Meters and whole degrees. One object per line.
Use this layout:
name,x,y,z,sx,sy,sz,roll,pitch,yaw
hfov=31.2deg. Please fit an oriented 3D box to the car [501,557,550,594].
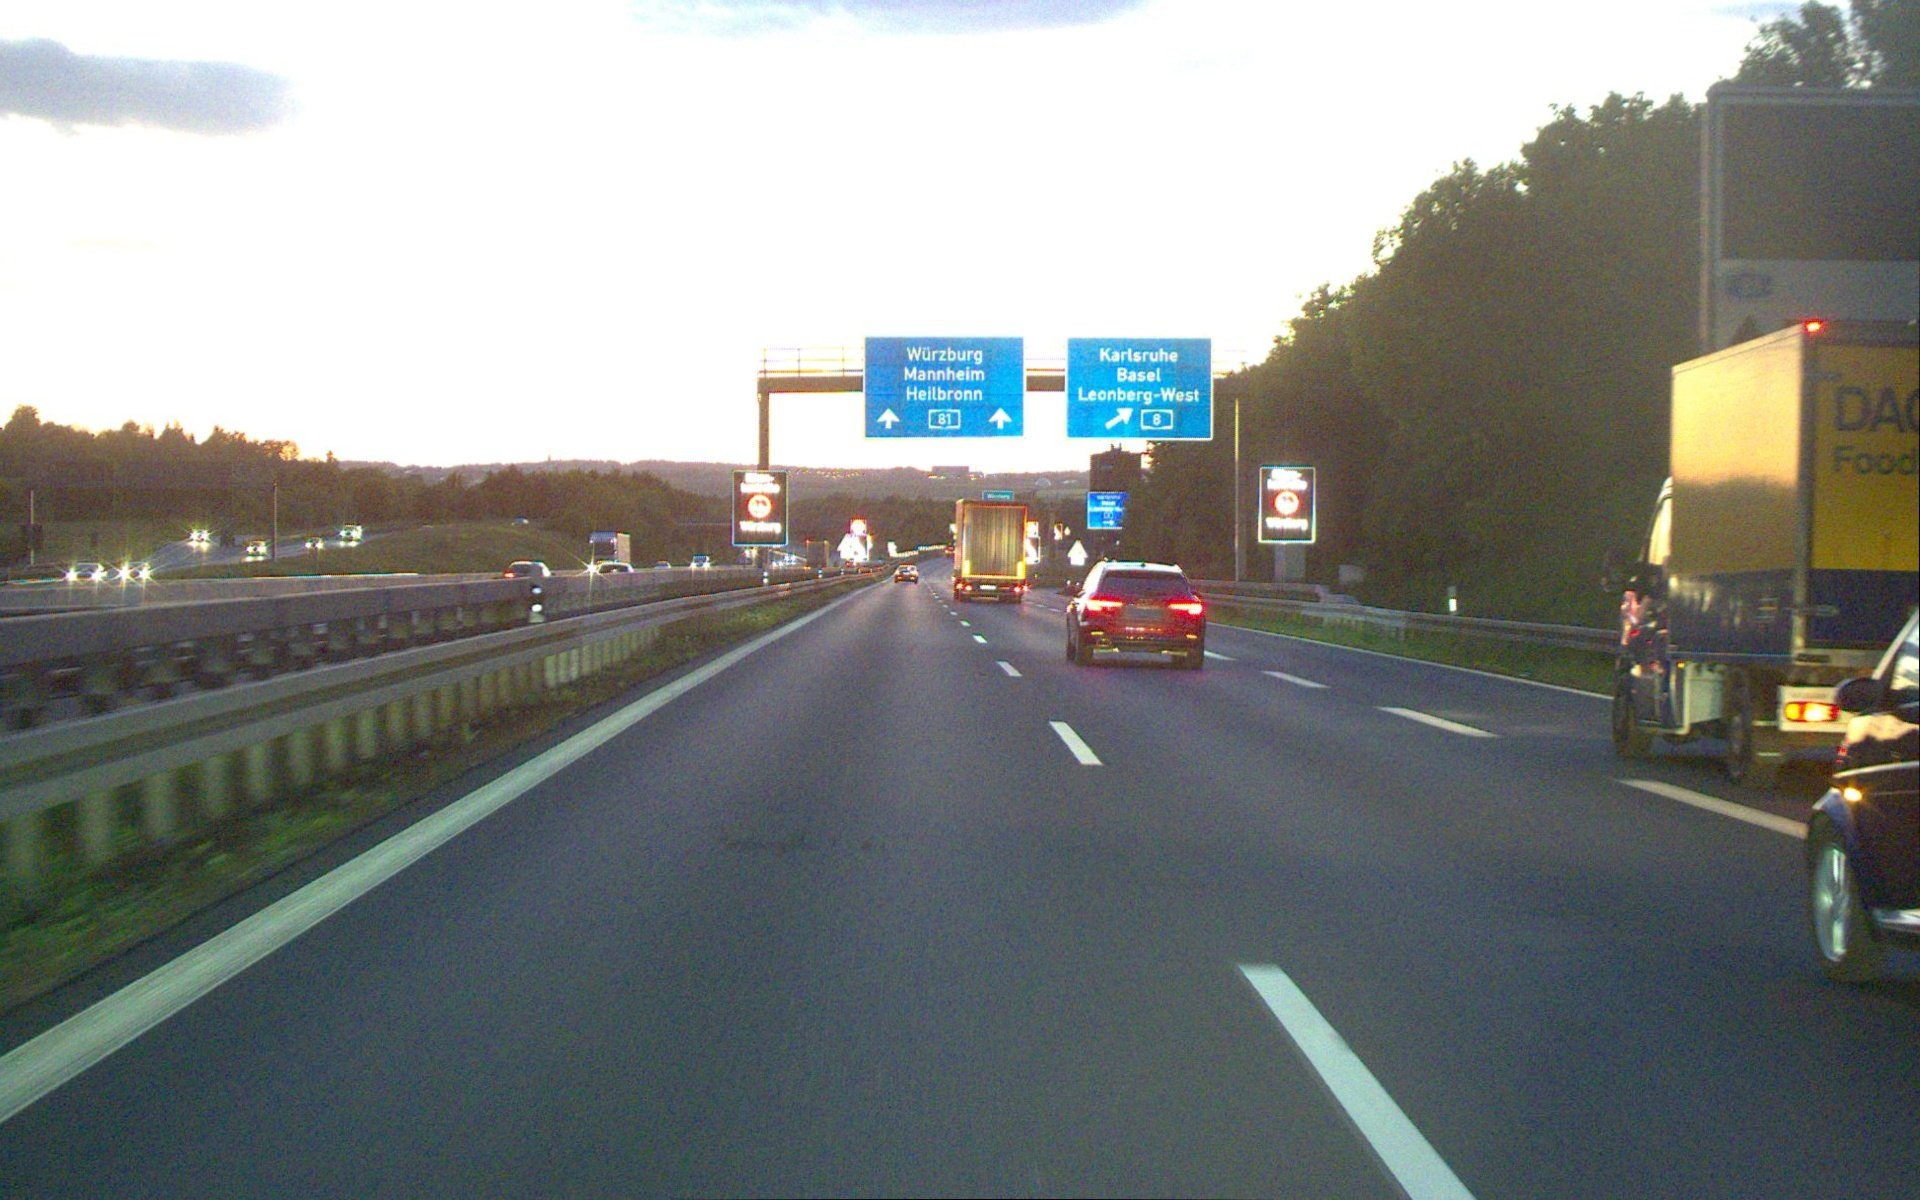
car,-18.115,-1.023,143.369,1.638,1.541,3.395,0,0,0

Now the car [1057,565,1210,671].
car,2.409,0.235,48.691,1.915,1.437,4.000,0,0,-1

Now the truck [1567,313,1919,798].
truck,6.185,-0.291,24.541,2.268,2.961,6.632,2,1,-1

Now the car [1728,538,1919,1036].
car,3.771,0.578,11.383,1.610,1.550,3.319,0,0,-2

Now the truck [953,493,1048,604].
truck,1.557,-2.021,138.254,3.509,4.286,9.892,0,0,-1

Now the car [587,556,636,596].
car,-14.250,-0.973,140.712,1.713,1.600,3.722,0,0,-1
